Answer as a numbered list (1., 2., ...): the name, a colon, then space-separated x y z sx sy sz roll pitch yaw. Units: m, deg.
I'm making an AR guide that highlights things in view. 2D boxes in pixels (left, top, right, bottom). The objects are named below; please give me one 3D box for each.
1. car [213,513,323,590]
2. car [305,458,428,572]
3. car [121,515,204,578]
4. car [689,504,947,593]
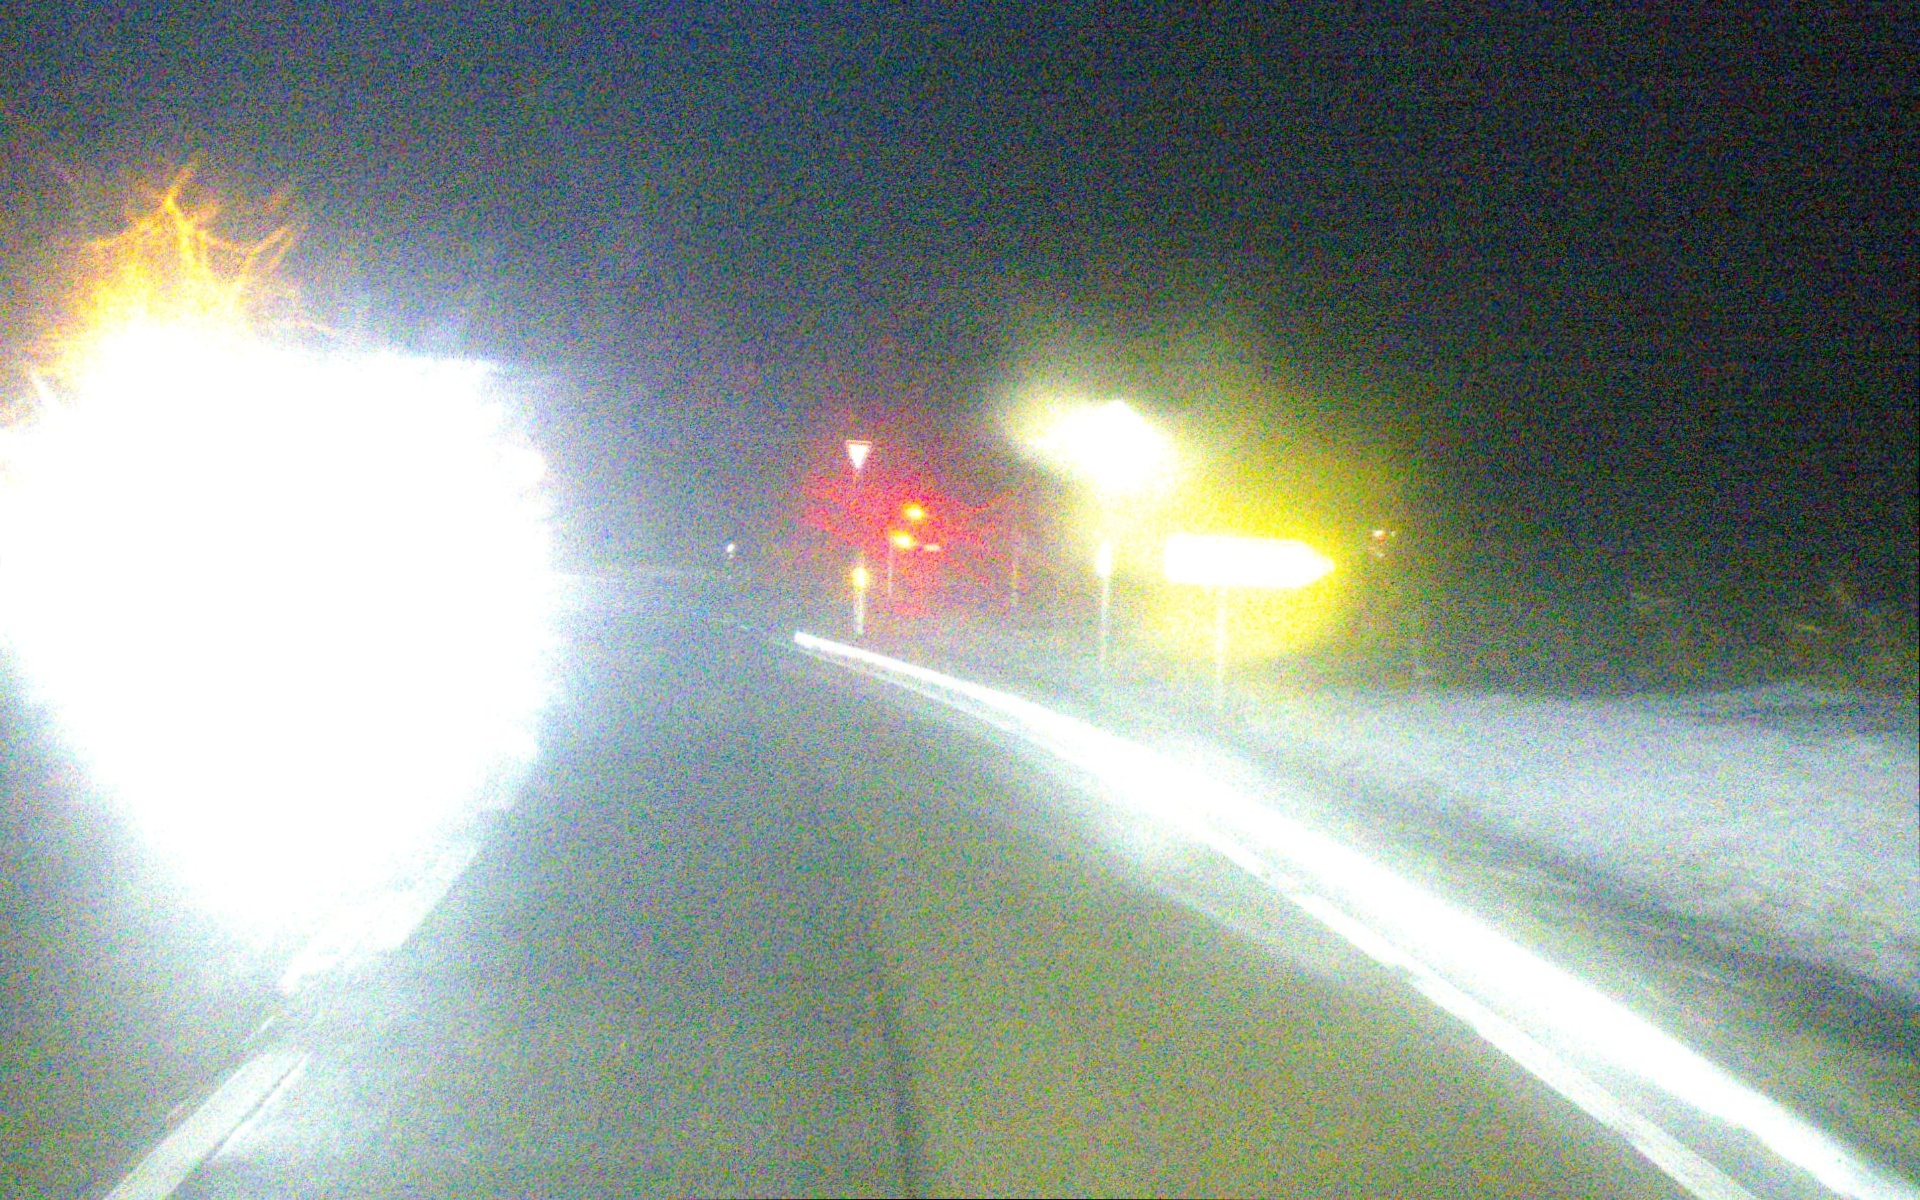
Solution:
1. car: -14.418 -1.008 71.509 1.955 1.517 4.400 1 1 -15
2. car: -14.670 -2.133 84.709 2.538 2.489 5.717 0 5 -14
3. car: -19.995 -1.349 86.135 1.711 1.471 3.870 1 2 -17
4. car: -2.825 -1.023 68.085 4.767 1.685 1.958 1 1 30
